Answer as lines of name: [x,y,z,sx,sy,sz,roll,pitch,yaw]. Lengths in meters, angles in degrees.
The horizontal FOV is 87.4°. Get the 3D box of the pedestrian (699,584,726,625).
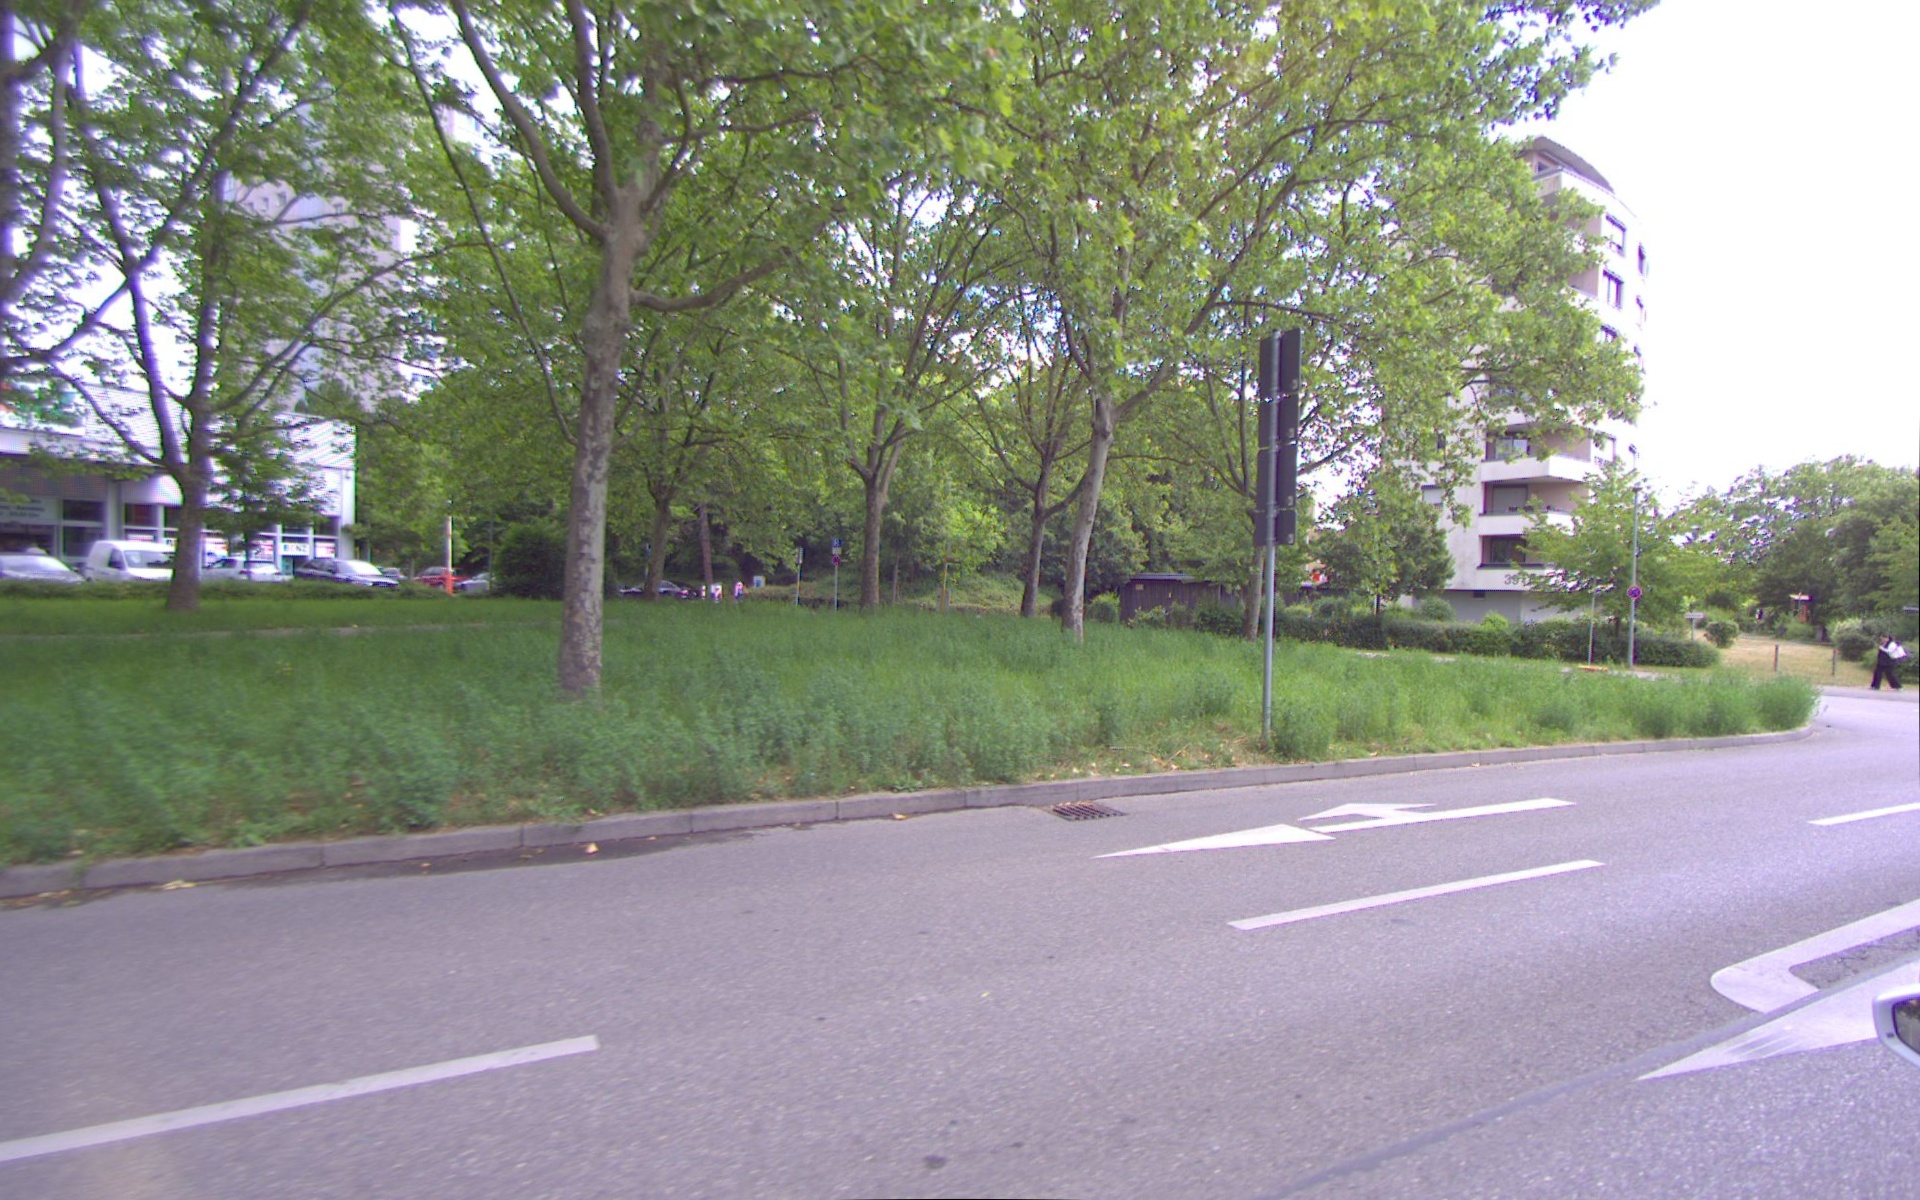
pedestrian: [-12.349,0.225,50.231,0.966,1.976,1.085,2,1,3]

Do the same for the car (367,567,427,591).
car: [-36.501,-1.347,65.115,3.930,1.503,1.734,1,1,32]

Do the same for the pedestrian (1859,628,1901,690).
pedestrian: [27.108,1.721,29.608,0.810,1.746,0.774,2,1,38]

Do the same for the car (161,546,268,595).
car: [-23.649,-0.901,31.838,3.825,1.485,1.481,1,1,33]

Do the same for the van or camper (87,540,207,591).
van or camper: [-23.662,-0.972,29.210,3.708,1.374,1.515,1,1,31]

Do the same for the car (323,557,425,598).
car: [-20.044,-0.767,34.337,3.192,1.272,1.691,3,0,32]

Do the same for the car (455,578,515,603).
car: [-28.219,-0.576,59.691,3.251,1.339,1.598,3,0,28]

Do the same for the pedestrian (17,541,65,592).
pedestrian: [-34.760,-1.239,38.010,1.062,1.896,1.052,0,1,-27]

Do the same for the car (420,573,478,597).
car: [-31.442,-0.909,61.780,3.251,1.339,1.598,3,0,28]

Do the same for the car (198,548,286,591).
car: [-29.343,-1.255,41.033,3.756,1.656,1.668,2,2,33]

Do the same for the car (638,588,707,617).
car: [-15.029,0.139,52.533,3.251,1.339,1.598,3,0,28]

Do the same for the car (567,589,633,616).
car: [-19.728,0.143,54.994,3.251,1.339,1.598,3,0,28]
